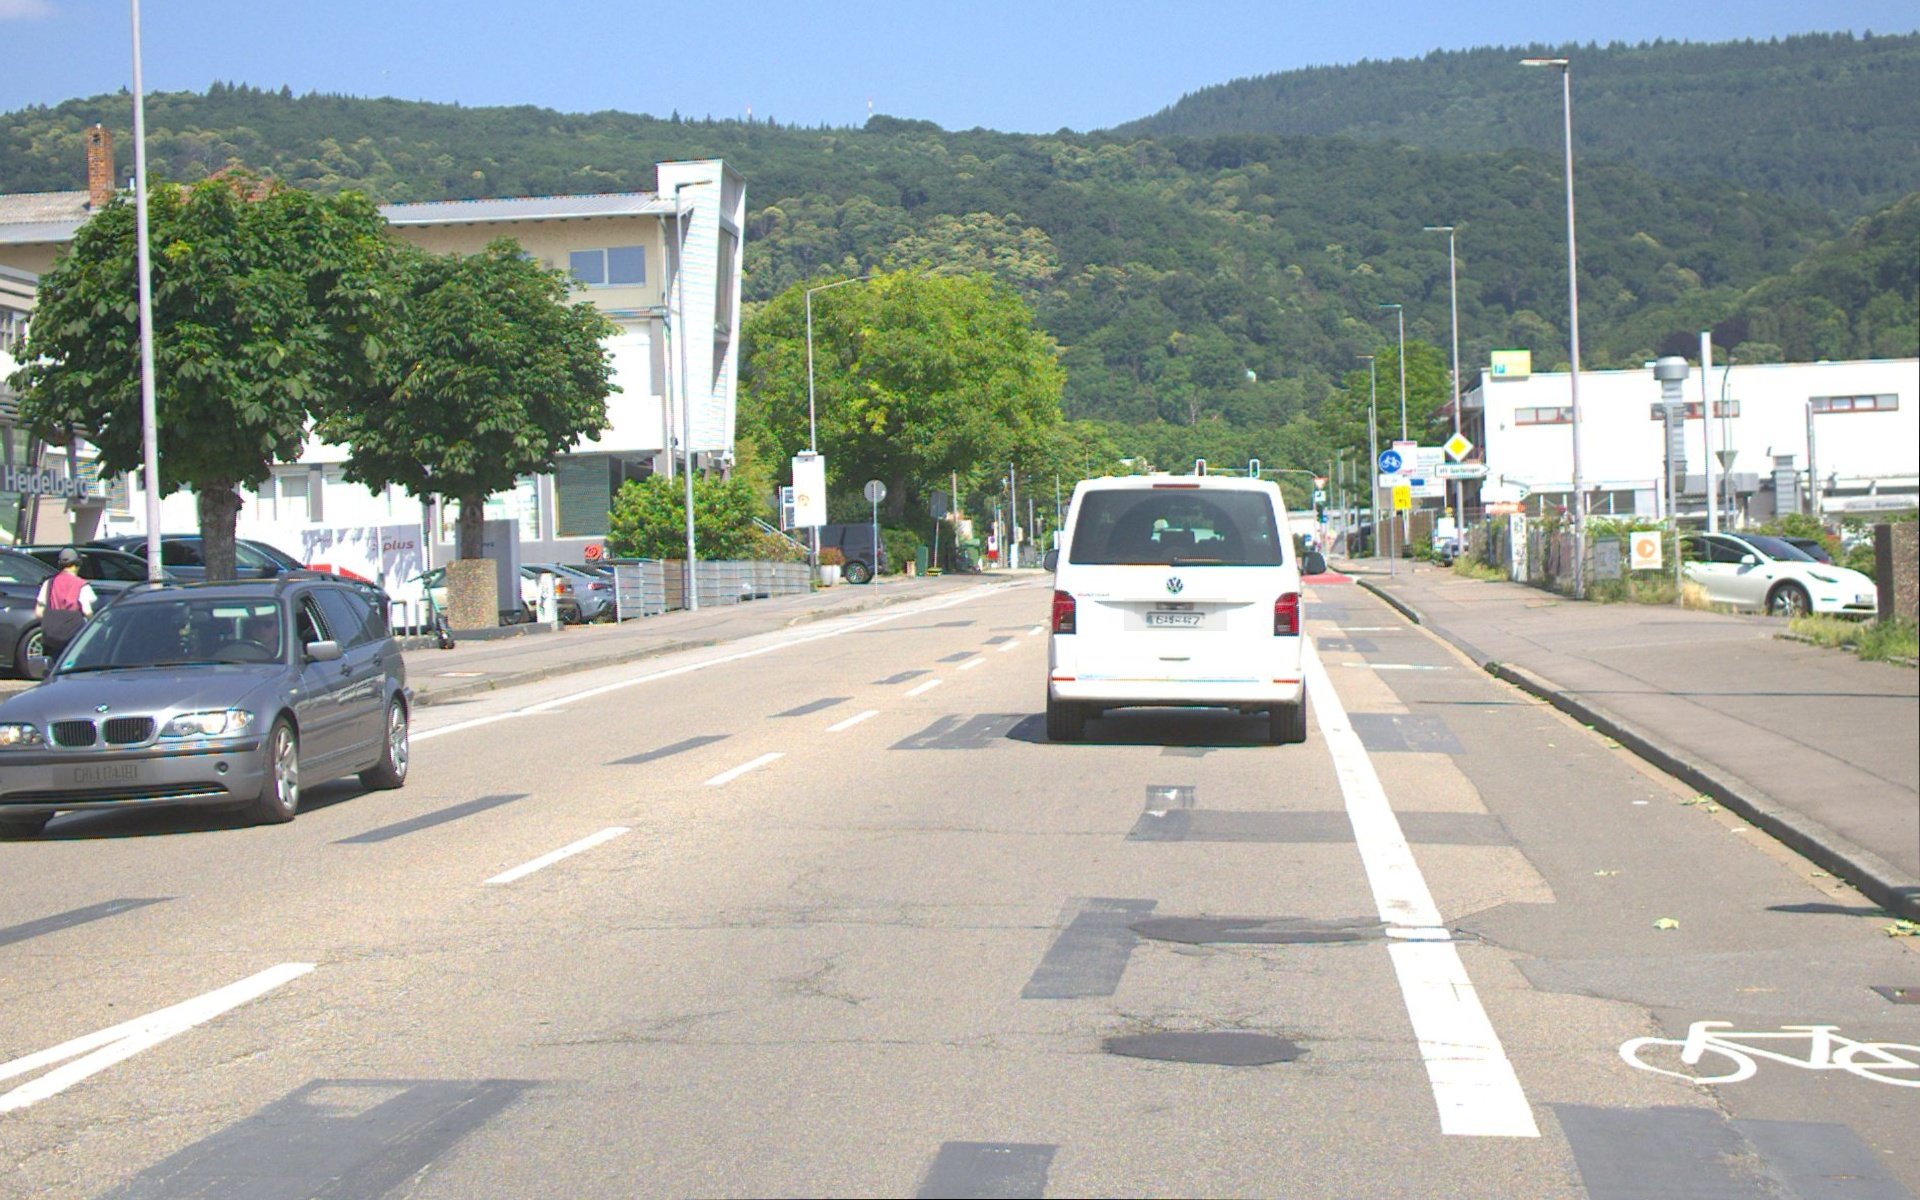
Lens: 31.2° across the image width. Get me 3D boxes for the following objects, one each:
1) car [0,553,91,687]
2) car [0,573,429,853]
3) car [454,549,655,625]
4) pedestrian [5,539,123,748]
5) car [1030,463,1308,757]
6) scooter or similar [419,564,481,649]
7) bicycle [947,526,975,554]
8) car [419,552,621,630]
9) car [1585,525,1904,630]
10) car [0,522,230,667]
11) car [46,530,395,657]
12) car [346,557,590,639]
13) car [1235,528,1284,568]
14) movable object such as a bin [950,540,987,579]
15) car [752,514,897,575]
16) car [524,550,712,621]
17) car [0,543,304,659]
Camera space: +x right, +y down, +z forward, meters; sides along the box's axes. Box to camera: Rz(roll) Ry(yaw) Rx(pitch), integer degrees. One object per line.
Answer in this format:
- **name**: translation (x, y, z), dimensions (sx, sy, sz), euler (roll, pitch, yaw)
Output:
- **car**: translation (-12.044, 0.167, 38.447), dimensions (4.146, 1.454, 1.908), euler (3, -2, -27)
- **car**: translation (-4.580, 0.609, 20.794), dimensions (1.742, 1.399, 4.324), euler (-4, 1, 4)
- **car**: translation (-8.685, -0.273, 73.866), dimensions (3.987, 1.438, 1.859), euler (2, -1, 3)
- **pedestrian**: translation (-8.252, 0.386, 31.701), dimensions (0.732, 1.861, 1.047), euler (-2, 1, 0)
- **car**: translation (1.611, 0.032, 26.531), dimensions (1.935, 2.052, 4.544), euler (1, 1, 3)
- **scooter or similar**: translation (-7.708, 0.088, 51.995), dimensions (0.743, 1.243, 1.491), euler (-2, 1, -3)
- **bicycle**: translation (0.048, -2.409, 139.117), dimensions (1.027, 1.114, 2.766), euler (1, 1, 2)
- **car**: translation (-9.122, -0.175, 71.481), dimensions (3.890, 1.439, 1.823), euler (2, -1, 1)
- **car**: translation (13.384, -0.355, 58.867), dimensions (2.018, 1.616, 5.045), euler (4, -3, -42)
- **car**: translation (-11.454, -0.092, 42.084), dimensions (4.468, 1.603, 1.966), euler (2, 3, -30)
- **car**: translation (-10.707, -0.114, 49.848), dimensions (4.565, 1.691, 1.859), euler (-2, 1, -30)
- **car**: translation (-9.861, -0.041, 69.166), dimensions (4.524, 1.452, 1.900), euler (-2, 1, 3)
- **car**: translation (13.715, -2.380, 157.467), dimensions (1.994, 1.744, 4.000), euler (-2, 1, 2)
- **movable object such as a bin**: translation (0.372, -1.752, 148.629), dimensions (1.448, 1.585, 1.307), euler (-3, 1, -3)
- **car**: translation (-4.365, -1.804, 111.483), dimensions (4.566, 1.859, 2.093), euler (-1, 1, 0)
- **car**: translation (-8.316, -0.360, 83.840), dimensions (4.296, 1.553, 1.995), euler (-2, 1, 2)
- **car**: translation (-11.119, 0.011, 46.035), dimensions (4.189, 1.490, 1.875), euler (0, 0, -30)
